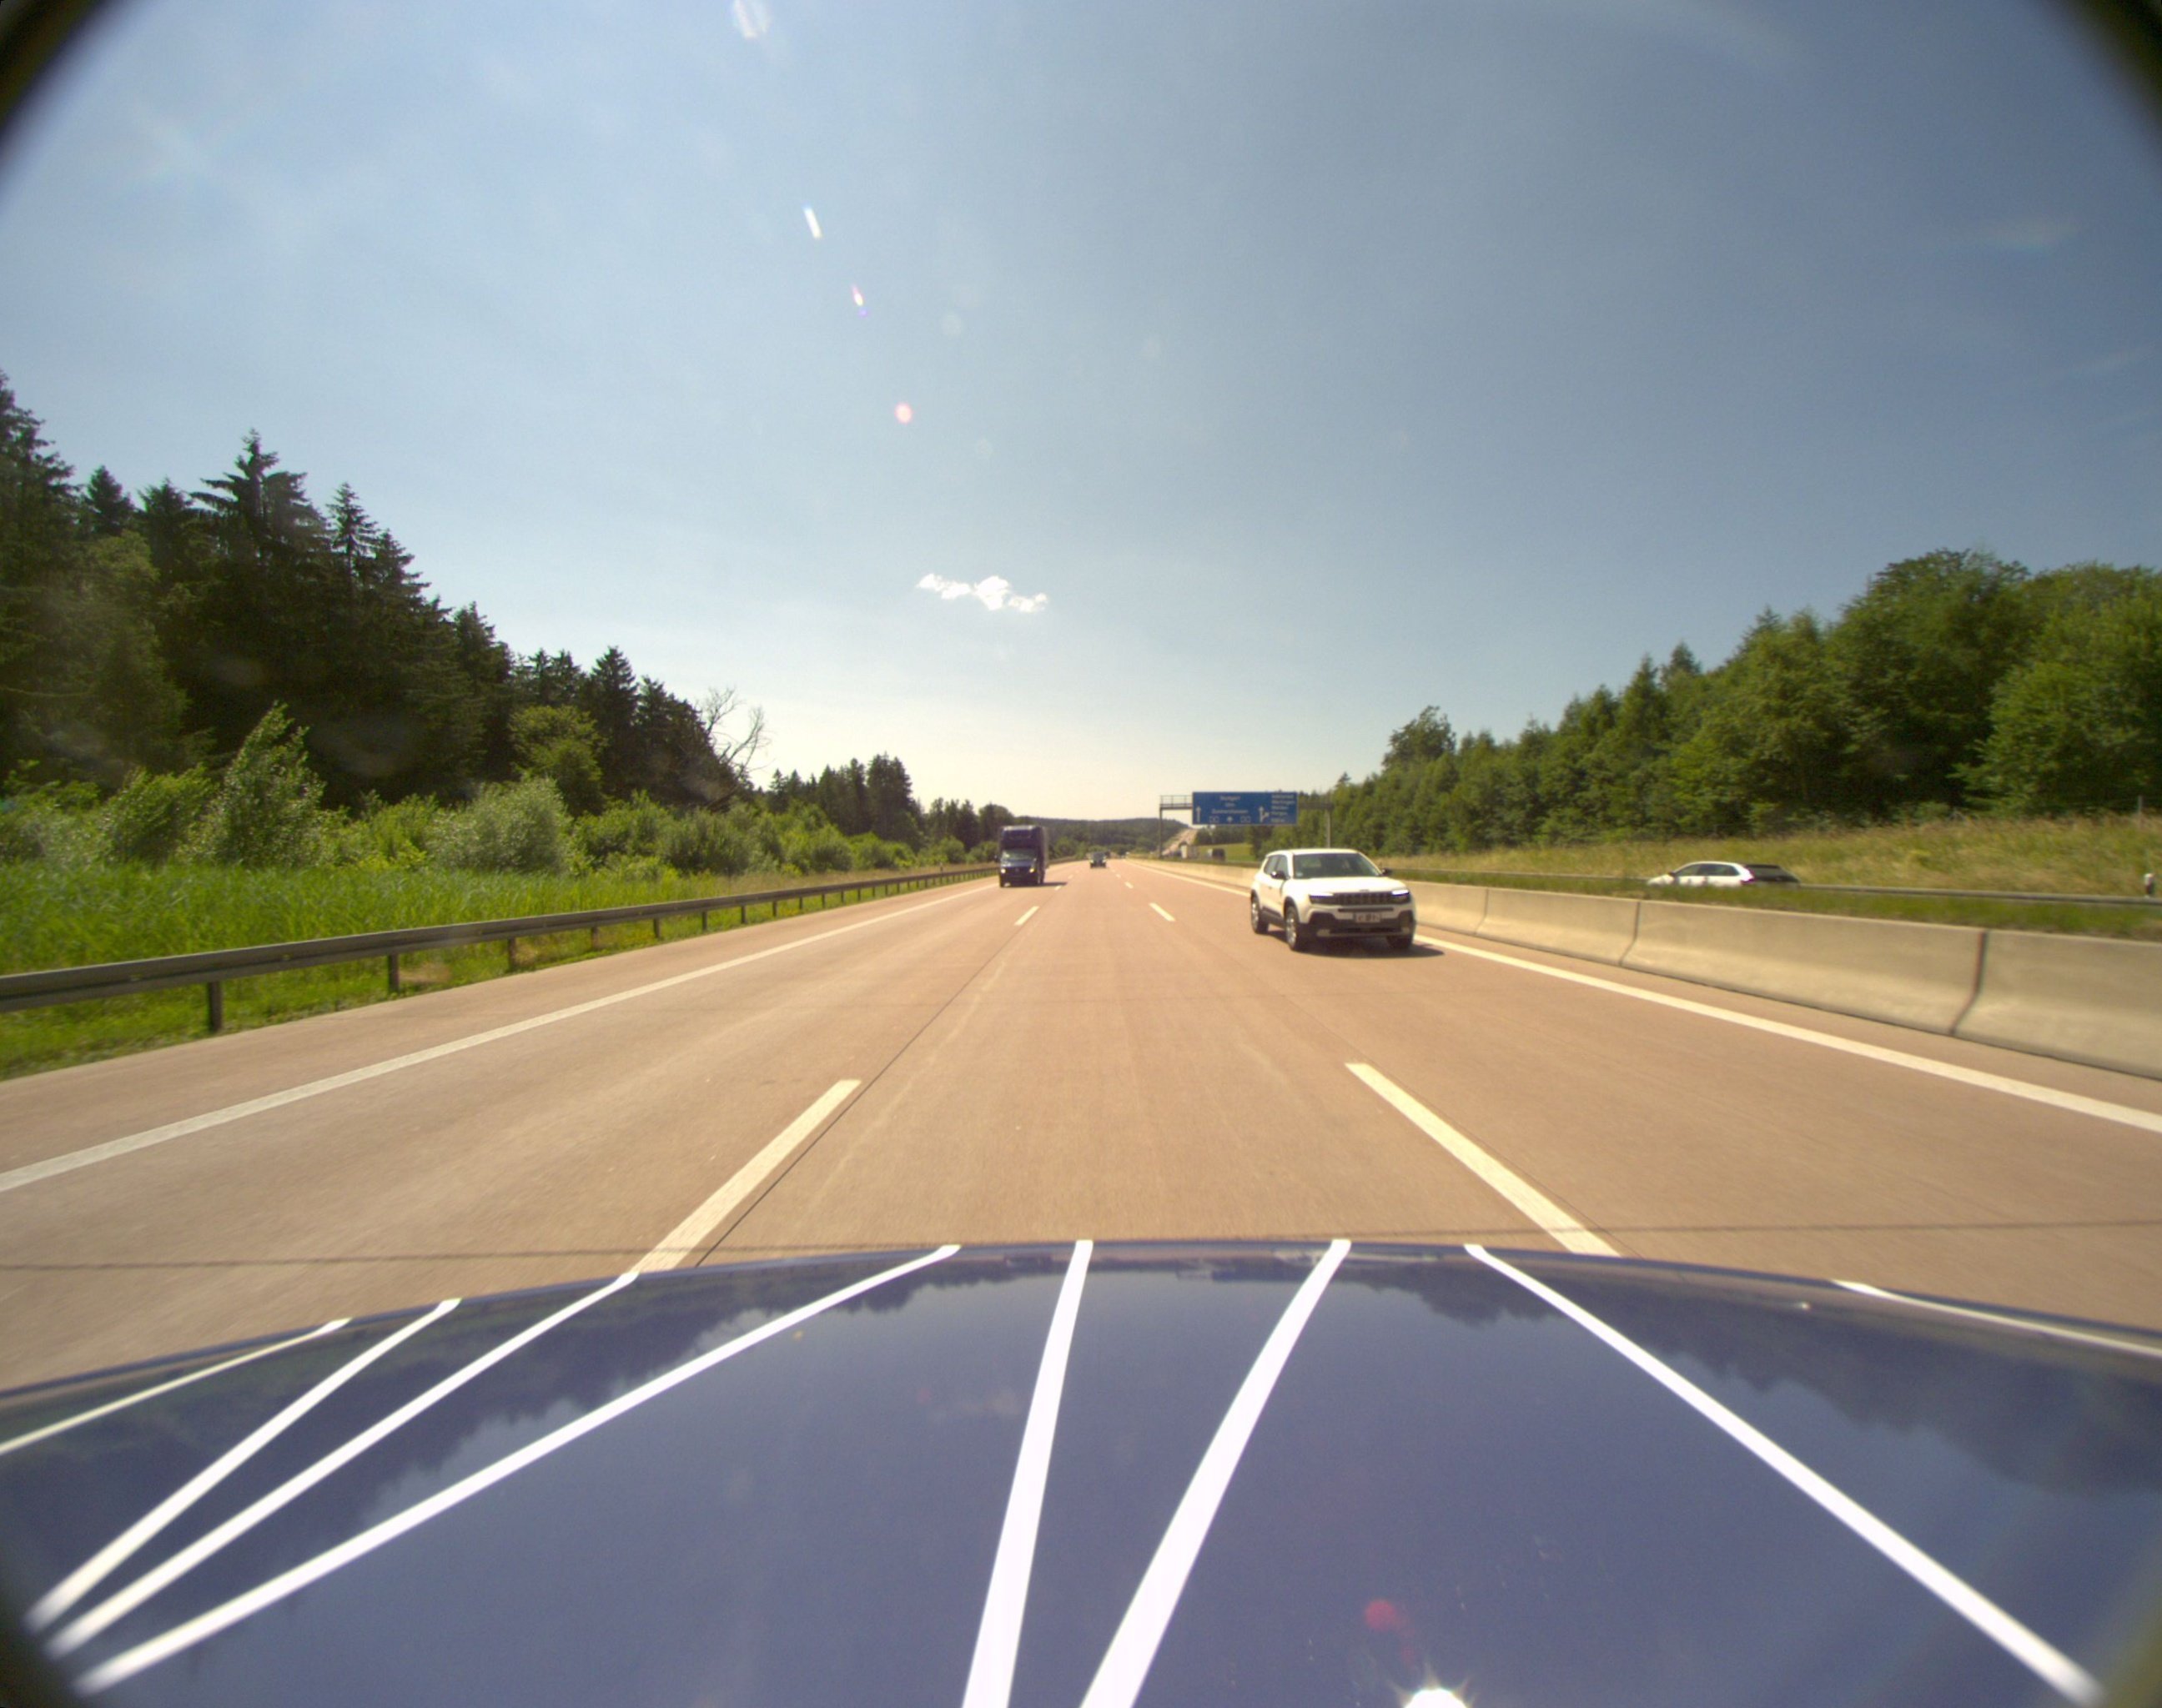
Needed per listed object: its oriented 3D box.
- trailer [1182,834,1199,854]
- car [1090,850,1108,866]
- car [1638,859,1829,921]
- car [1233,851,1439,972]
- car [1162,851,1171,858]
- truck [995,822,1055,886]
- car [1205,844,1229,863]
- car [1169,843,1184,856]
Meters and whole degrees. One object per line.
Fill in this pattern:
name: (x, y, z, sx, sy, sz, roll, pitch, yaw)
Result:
trailer: (26.049, -2.290, 180.958, 2.709, 4.408, 13.194, -1, 0, 3)
car: (2.239, 0.439, 92.287, 1.998, 1.805, 4.565, -1, 0, 2)
car: (19.141, 0.989, 22.610, 1.895, 1.584, 4.464, -1, 0, 1)
car: (3.970, 0.776, 12.797, 1.883, 1.598, 4.834, -1, 0, 1)
car: (21.080, 0.066, 187.975, 1.895, 1.645, 4.000, -1, 0, 1)
truck: (-2.992, 0.009, 42.503, 2.508, 3.199, 7.784, -1, 0, 1)
car: (20.093, -0.016, 112.469, 2.238, 2.670, 6.887, -1, 0, 0)
car: (19.861, -0.893, 158.382, 2.238, 2.670, 6.098, -1, 0, 1)
